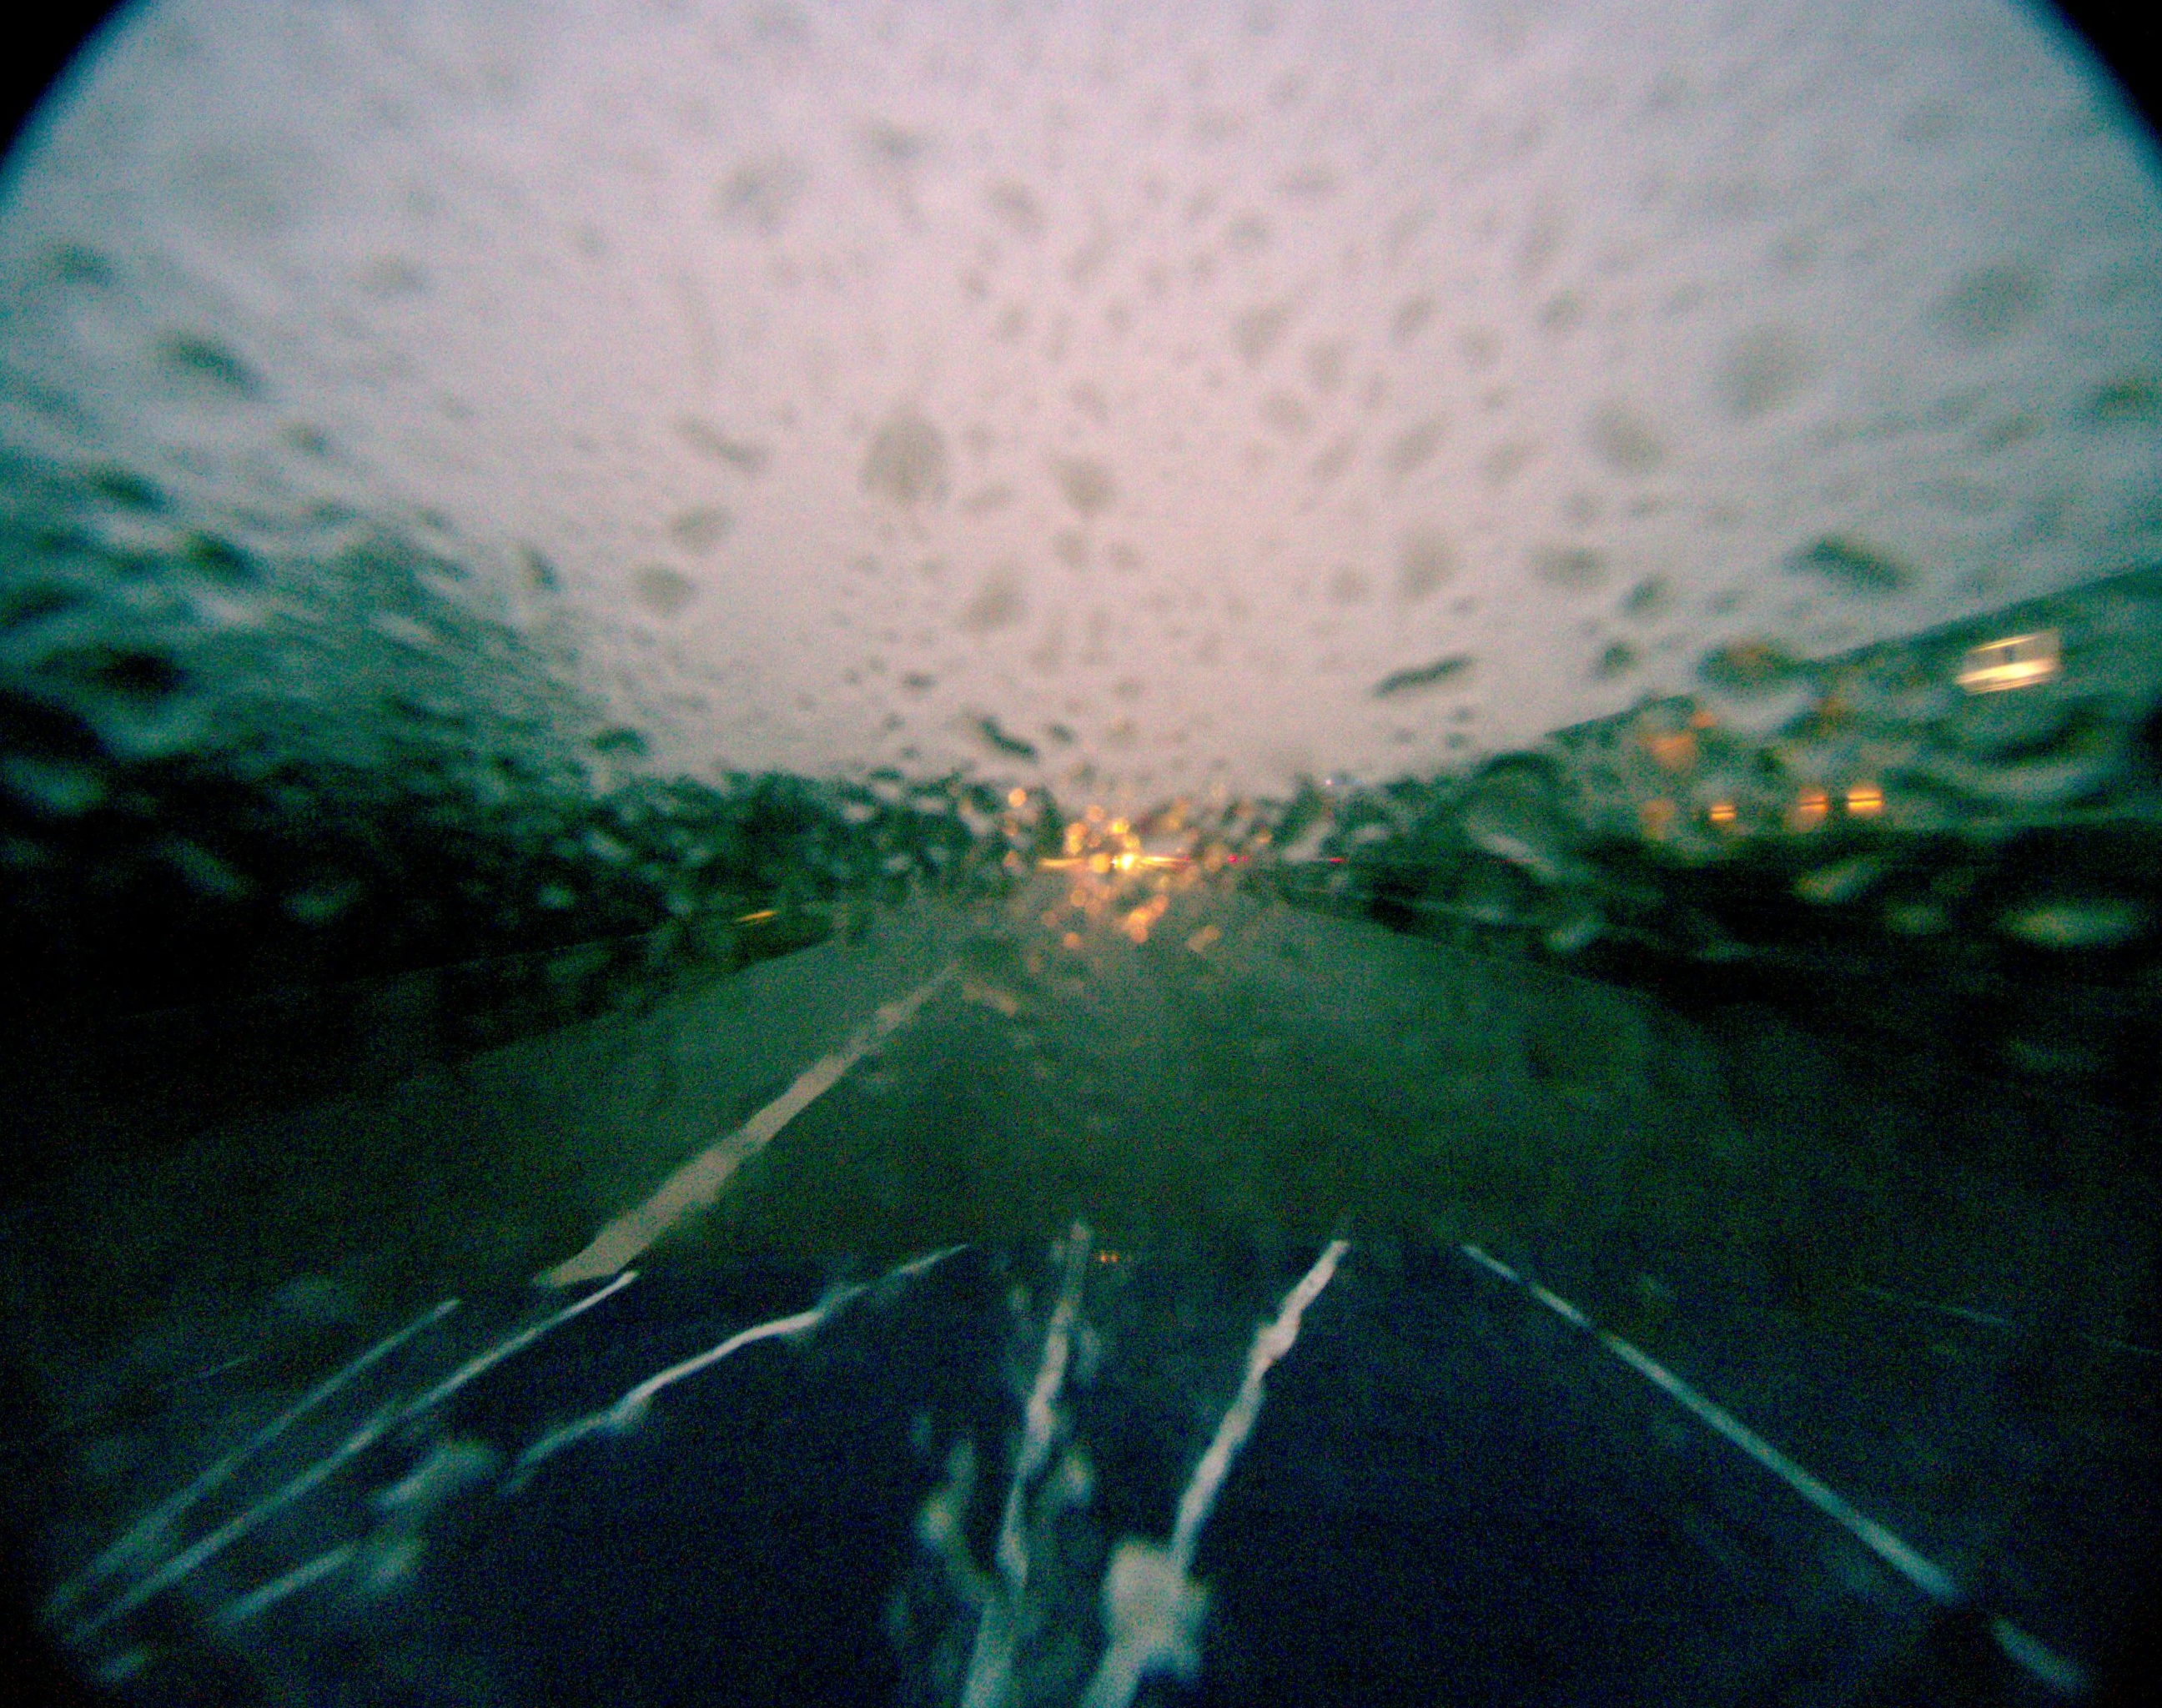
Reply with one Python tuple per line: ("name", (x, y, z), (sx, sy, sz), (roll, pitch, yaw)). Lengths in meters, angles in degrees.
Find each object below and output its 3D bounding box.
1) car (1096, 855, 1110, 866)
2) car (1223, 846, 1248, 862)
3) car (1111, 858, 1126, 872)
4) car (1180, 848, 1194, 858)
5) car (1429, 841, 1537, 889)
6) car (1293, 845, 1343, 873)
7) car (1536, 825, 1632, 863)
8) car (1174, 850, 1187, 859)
("car", (2.958, 0.831, 101.298), (1.683, 1.401, 3.775), (-3, 0, 2))
("car", (15.530, 0.015, 76.487), (1.741, 1.499, 4.000), (-3, 0, 1))
("car", (6.223, 1.780, 125.080), (1.999, 2.002, 3.999), (-5, 0, -2))
("car", (17.007, -0.197, 121.894), (1.728, 1.582, 4.000), (-4, 0, 2))
("car", (14.281, 0.362, 27.244), (1.741, 1.499, 4.000), (-3, 0, 1))
("car", (14.135, 0.284, 45.534), (1.741, 1.499, 4.000), (-3, 0, 1))
("car", (29.168, -0.548, 44.309), (2.161, 2.002, 4.960), (-3, 0, -1))
("car", (14.146, 0.085, 108.051), (1.462, 1.180, 3.798), (-3, 0, 1))
